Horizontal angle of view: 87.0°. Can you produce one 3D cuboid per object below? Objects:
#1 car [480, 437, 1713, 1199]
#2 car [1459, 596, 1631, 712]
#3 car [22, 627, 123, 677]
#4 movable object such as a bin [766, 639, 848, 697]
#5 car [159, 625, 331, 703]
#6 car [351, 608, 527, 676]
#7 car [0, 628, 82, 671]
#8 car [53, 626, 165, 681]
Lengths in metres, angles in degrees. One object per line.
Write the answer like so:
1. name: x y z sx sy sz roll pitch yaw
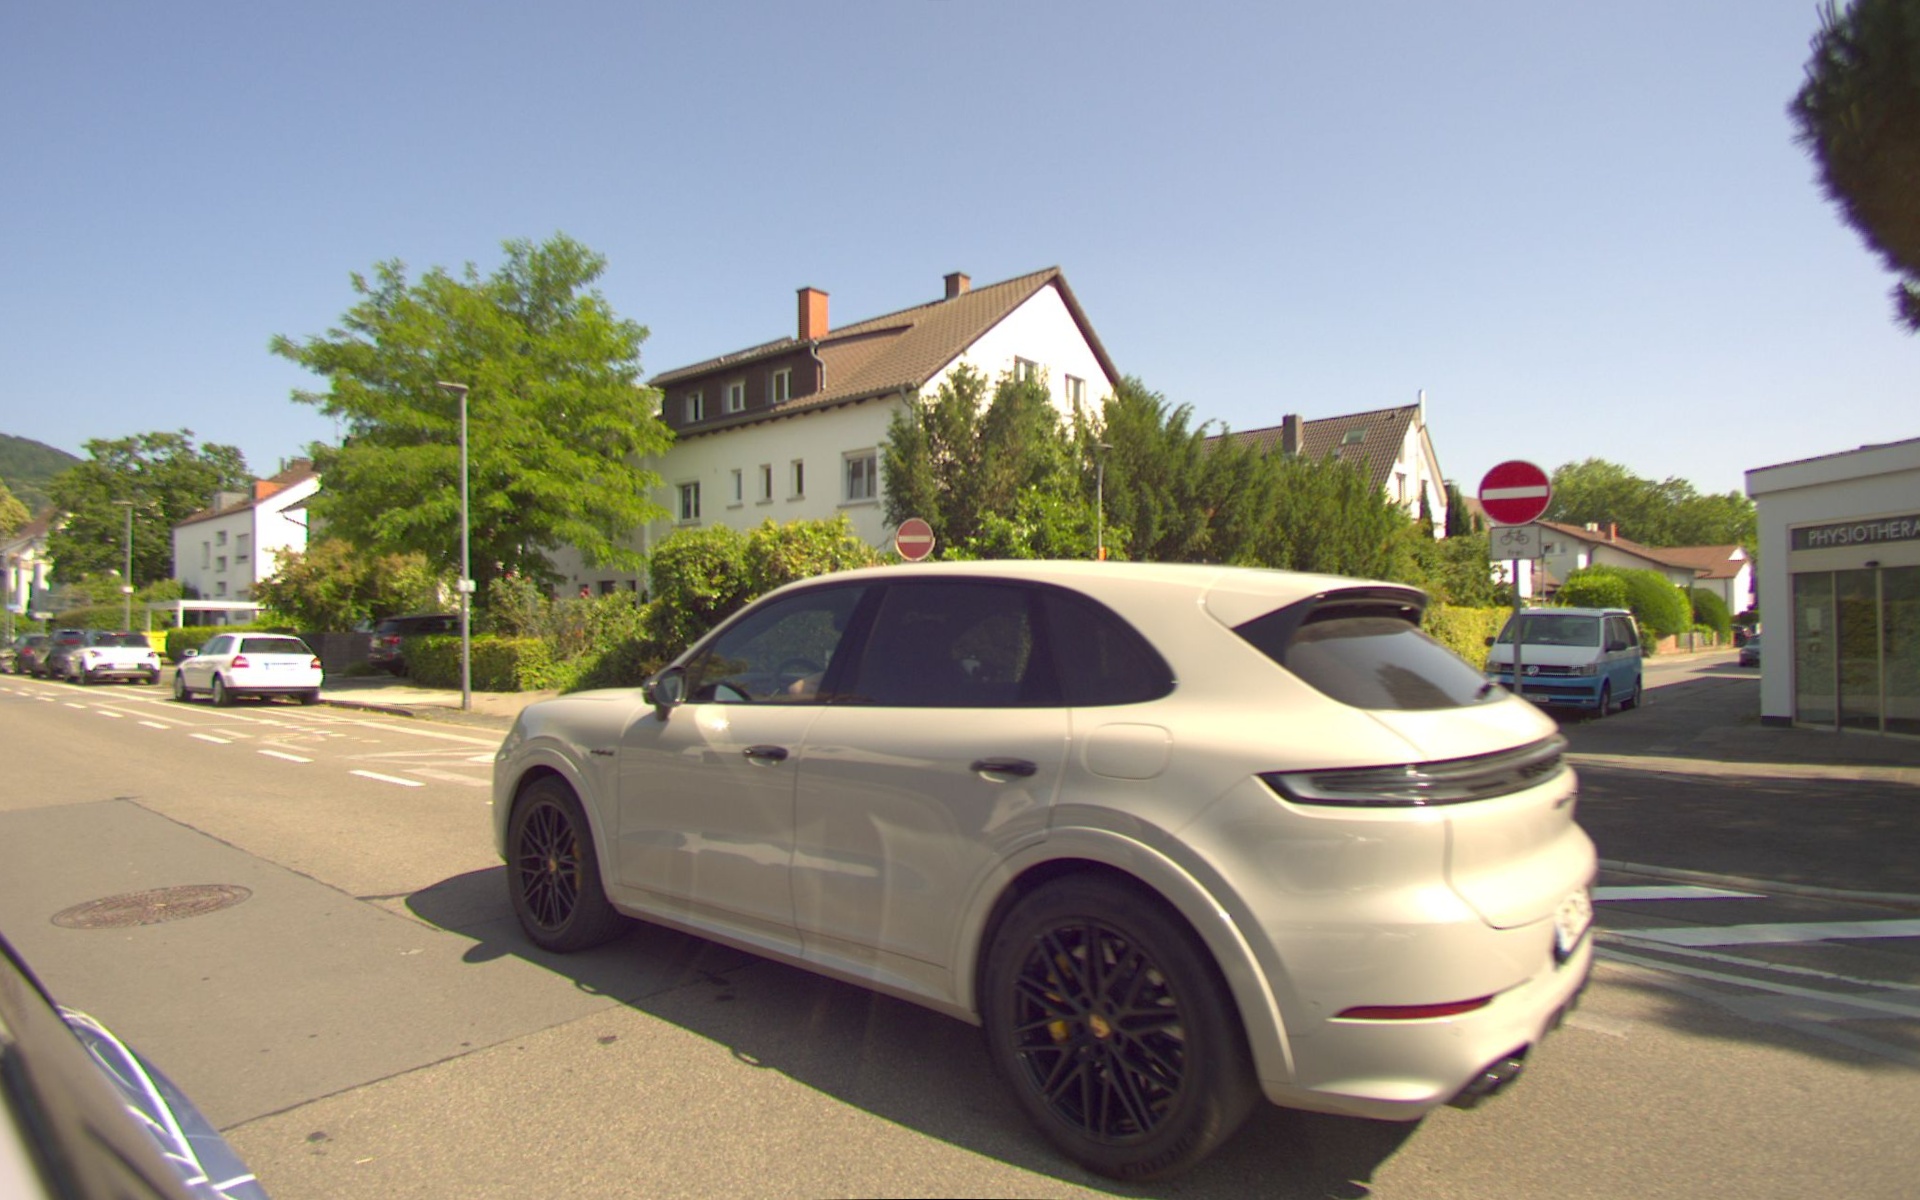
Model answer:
1. car: 0.098 0.604 4.092 4.601 1.670 1.973 -2 -2 40
2. car: 11.028 0.936 18.936 1.910 1.903 4.466 -1 -2 42
3. car: -27.548 1.582 31.367 4.108 1.451 1.767 -2 -3 41
4. movable object such as a bin: -2.801 1.218 18.411 1.875 0.998 0.315 -2 -1 41
5. car: -14.677 1.266 20.721 3.994 1.451 1.768 -1 -4 38
6. car: -14.583 1.134 28.485 1.998 1.773 3.947 -2 -2 40
7. car: -32.540 1.726 35.507 4.148 1.451 1.768 -2 -4 37
8. car: -24.225 1.501 28.764 3.997 1.451 1.767 -2 -3 40
